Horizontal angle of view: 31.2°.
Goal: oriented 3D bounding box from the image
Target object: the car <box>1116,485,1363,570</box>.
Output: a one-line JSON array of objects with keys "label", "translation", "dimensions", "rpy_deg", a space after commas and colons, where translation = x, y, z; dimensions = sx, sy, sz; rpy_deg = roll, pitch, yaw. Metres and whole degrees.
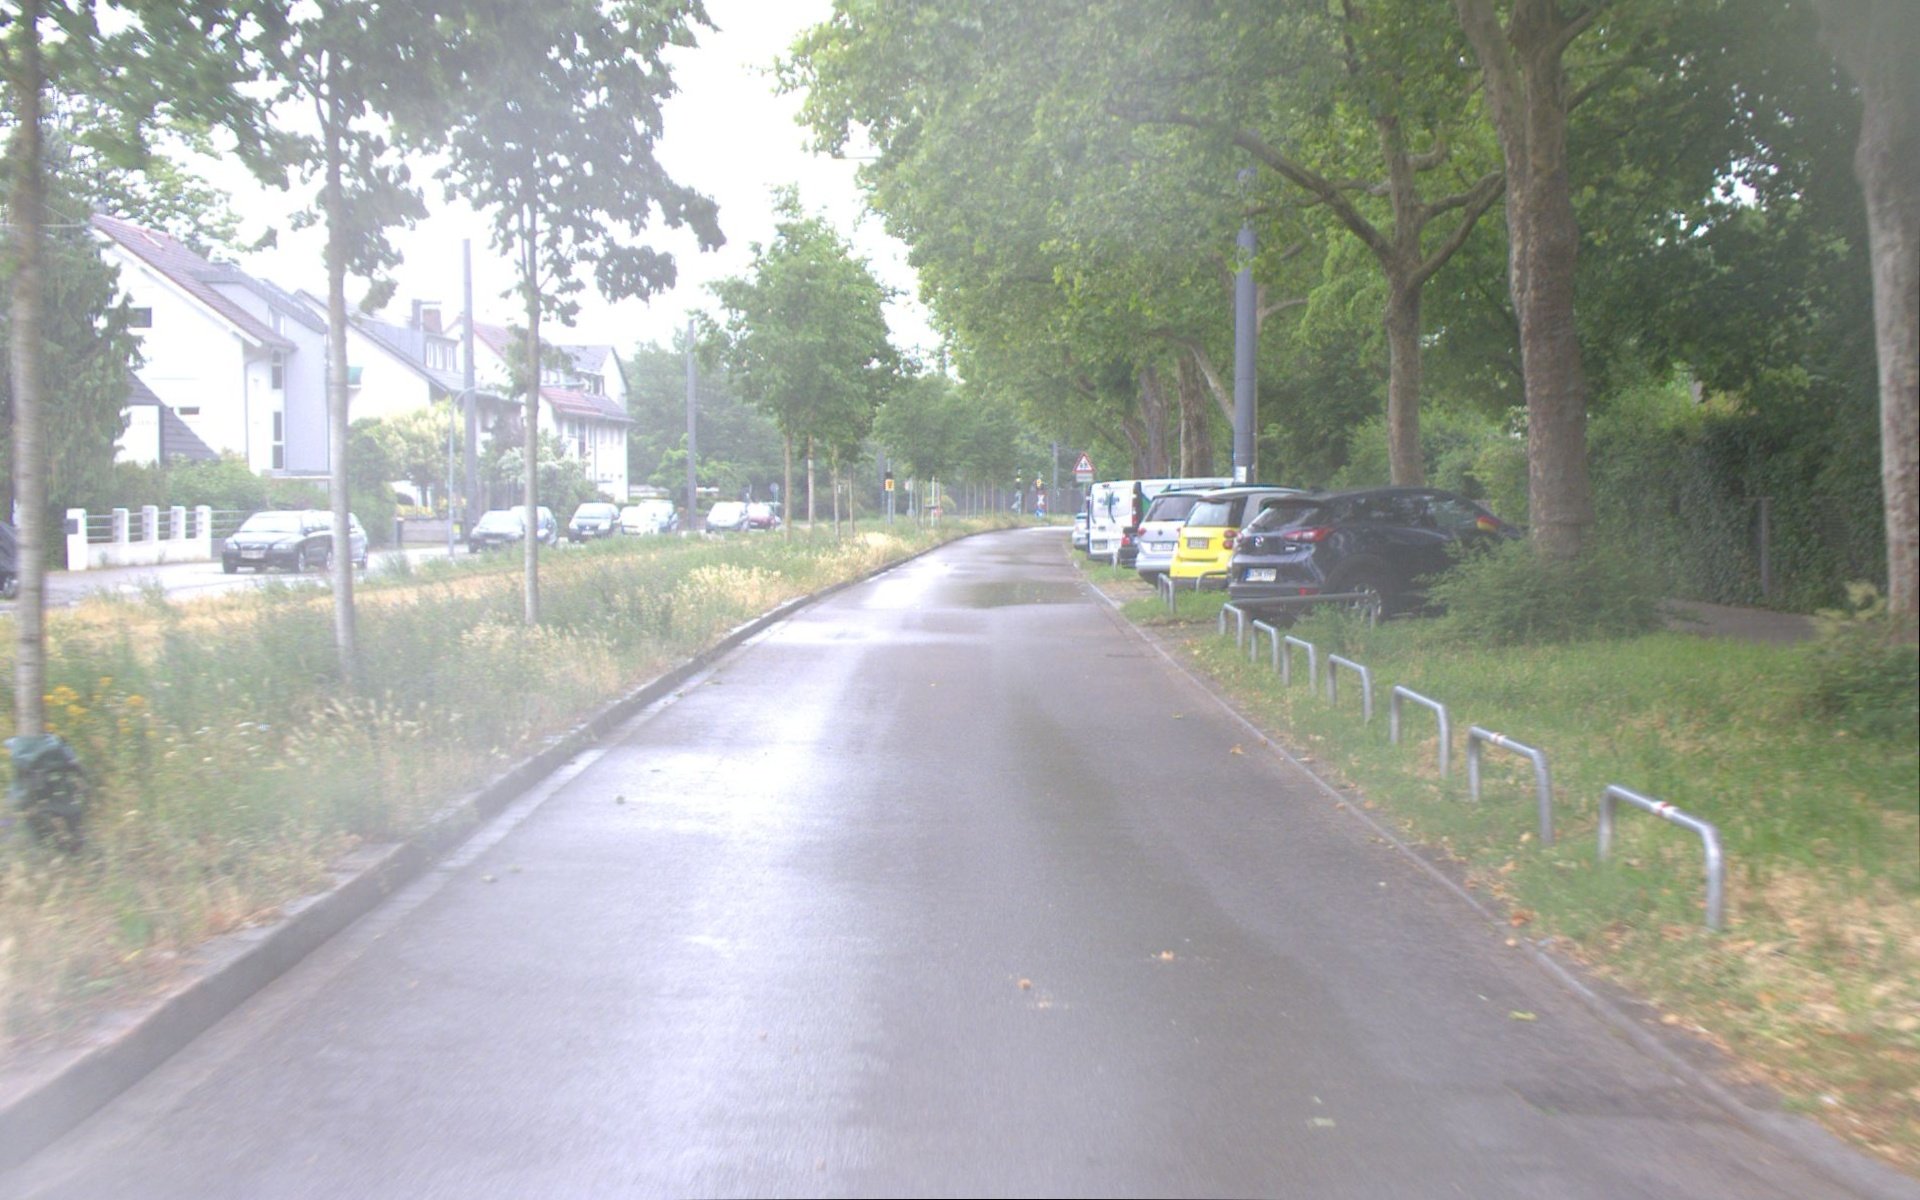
[{"label": "car", "translation": [5.038, -1.303, 62.123], "dimensions": [3.986, 1.448, 2.001], "rpy_deg": [1, 1, -16]}]

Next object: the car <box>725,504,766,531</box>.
[{"label": "car", "translation": [-11.993, -4.621, 192.576], "dimensions": [1.928, 1.481, 4.000], "rpy_deg": [1, 1, 1]}]

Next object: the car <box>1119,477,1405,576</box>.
[{"label": "car", "translation": [4.695, -1.134, 53.668], "dimensions": [3.986, 1.448, 2.001], "rpy_deg": [1, 1, -16]}]

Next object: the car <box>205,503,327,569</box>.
[{"label": "car", "translation": [-16.080, -1.481, 79.851], "dimensions": [1.928, 1.481, 4.000], "rpy_deg": [1, 1, 1]}]

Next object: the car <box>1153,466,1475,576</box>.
[{"label": "car", "translation": [4.912, -1.086, 47.891], "dimensions": [3.986, 1.448, 2.001], "rpy_deg": [1, 1, -16]}]

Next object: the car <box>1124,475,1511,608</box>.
[{"label": "car", "translation": [4.126, -0.668, 39.872], "dimensions": [3.986, 1.448, 2.001], "rpy_deg": [1, 1, -16]}]

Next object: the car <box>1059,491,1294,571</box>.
[{"label": "car", "translation": [4.087, -1.298, 65.060], "dimensions": [3.986, 1.448, 2.001], "rpy_deg": [1, 1, -16]}]

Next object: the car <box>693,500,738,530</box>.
[{"label": "car", "translation": [-12.703, -4.395, 178.614], "dimensions": [1.928, 1.481, 4.000], "rpy_deg": [1, 1, 1]}]

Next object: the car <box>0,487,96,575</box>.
[{"label": "car", "translation": [-16.545, -1.196, 59.780], "dimensions": [1.928, 1.481, 4.000], "rpy_deg": [1, 1, 1]}]

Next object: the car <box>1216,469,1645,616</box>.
[{"label": "car", "translation": [4.920, -0.599, 36.154], "dimensions": [3.986, 1.448, 2.001], "rpy_deg": [1, 1, -16]}]

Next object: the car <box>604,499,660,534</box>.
[{"label": "car", "translation": [-14.164, -3.593, 148.512], "dimensions": [1.928, 1.481, 4.000], "rpy_deg": [1, 1, 1]}]

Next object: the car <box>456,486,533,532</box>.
[{"label": "car", "translation": [-15.447, -3.010, 114.275], "dimensions": [1.928, 1.481, 4.000], "rpy_deg": [1, 1, 1]}]

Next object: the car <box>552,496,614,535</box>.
[{"label": "car", "translation": [-14.942, -3.354, 136.455], "dimensions": [1.928, 1.481, 4.000], "rpy_deg": [1, 1, 1]}]
